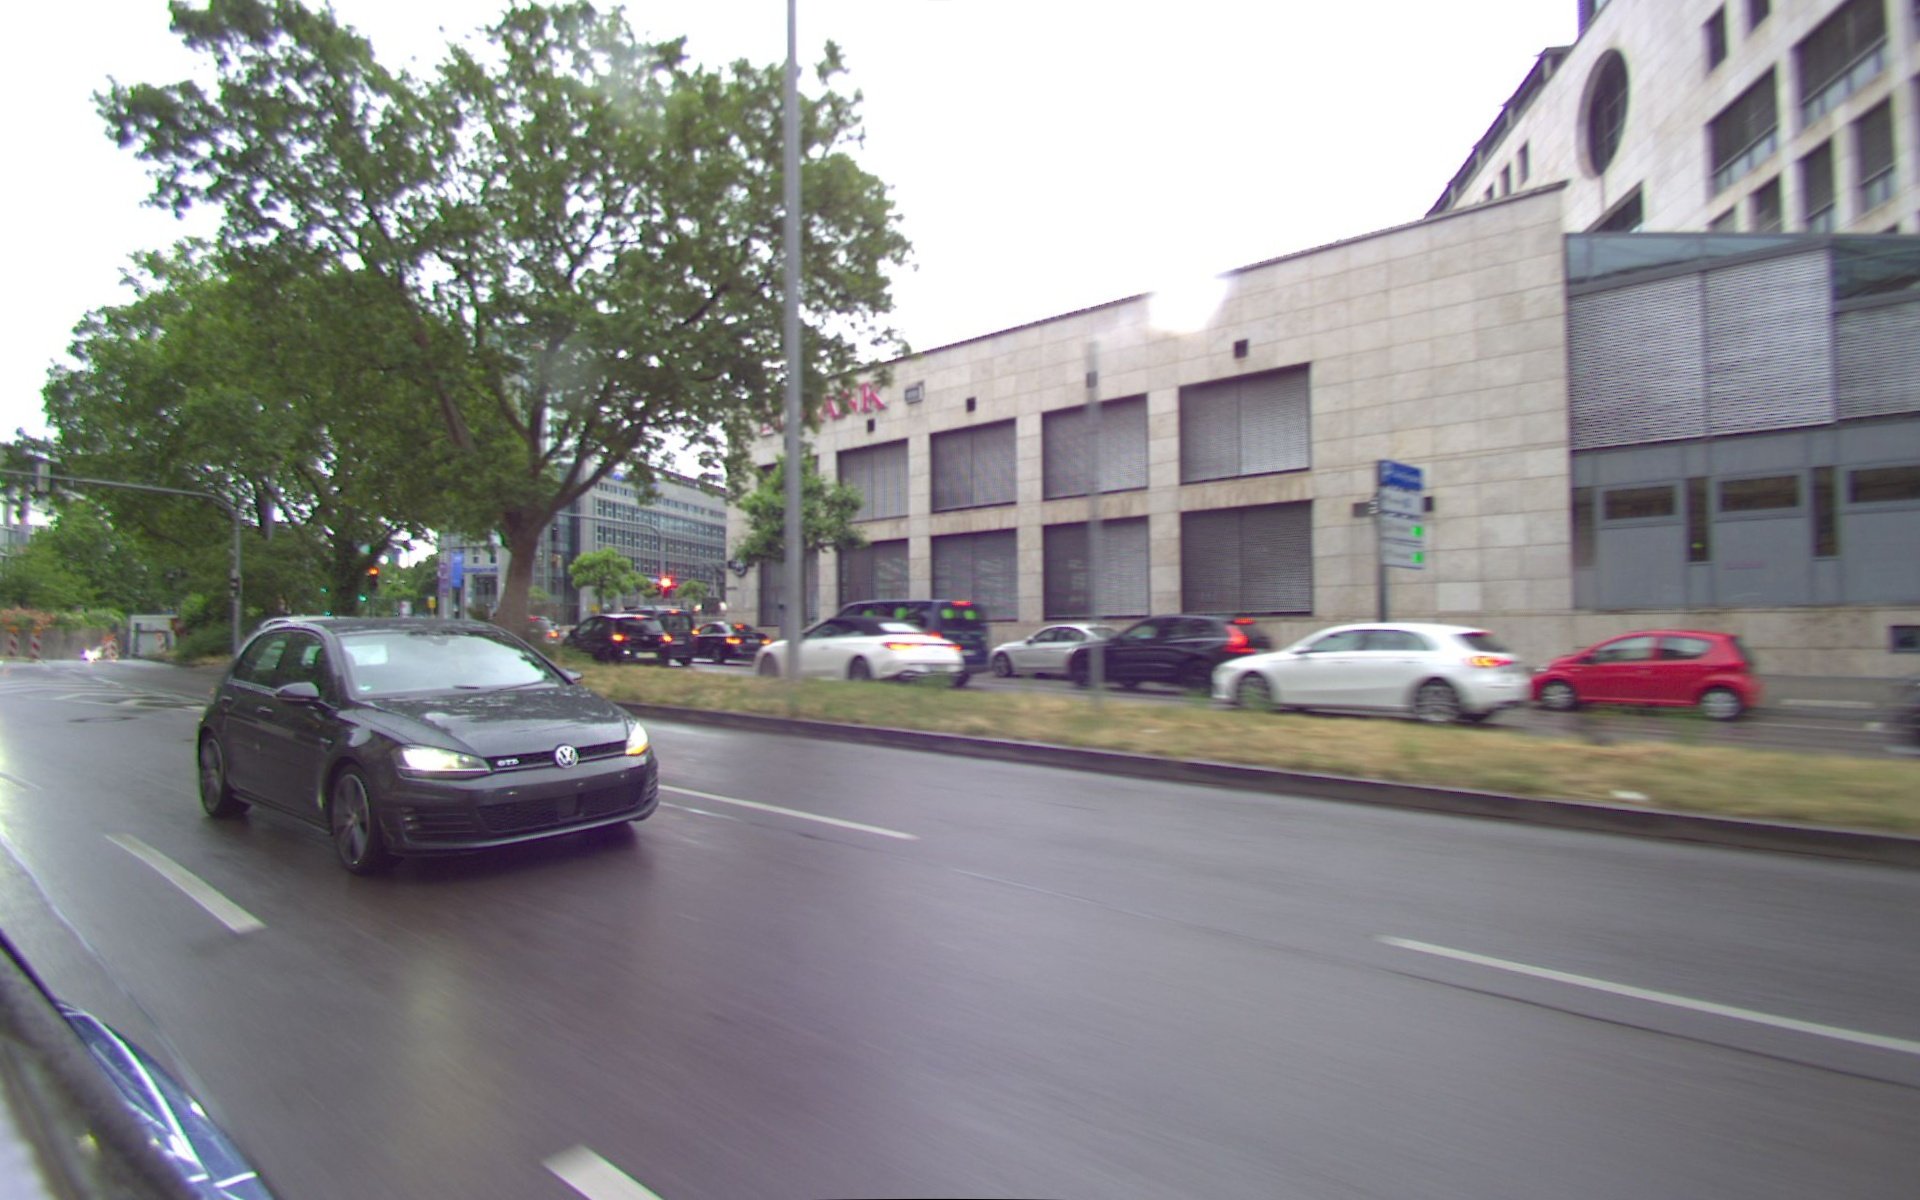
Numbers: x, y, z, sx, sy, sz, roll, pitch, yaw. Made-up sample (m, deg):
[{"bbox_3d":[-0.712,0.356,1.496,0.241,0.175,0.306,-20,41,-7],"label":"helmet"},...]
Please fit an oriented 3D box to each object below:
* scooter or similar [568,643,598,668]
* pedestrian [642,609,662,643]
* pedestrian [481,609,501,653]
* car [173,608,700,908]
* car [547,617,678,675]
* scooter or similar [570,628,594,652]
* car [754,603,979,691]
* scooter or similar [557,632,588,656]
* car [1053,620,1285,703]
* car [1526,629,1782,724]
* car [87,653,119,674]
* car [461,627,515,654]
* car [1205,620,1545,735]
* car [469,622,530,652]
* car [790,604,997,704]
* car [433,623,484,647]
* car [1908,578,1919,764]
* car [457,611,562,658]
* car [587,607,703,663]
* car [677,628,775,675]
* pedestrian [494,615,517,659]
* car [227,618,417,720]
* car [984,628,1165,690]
[{"bbox_3d":[-19.945,2.929,53.540,1.405,1.195,0.583,-1,0,-26],"label":"scooter or similar"},{"bbox_3d":[-17.891,1.490,58.795,1.125,1.939,0.582,-2,-1,42],"label":"pedestrian"},{"bbox_3d":[-17.616,1.149,37.982,0.551,1.626,0.422,-2,-2,23],"label":"pedestrian"},{"bbox_3d":[-3.768,0.821,6.968,4.119,1.463,1.766,-2,-2,40],"label":"car"},{"bbox_3d":[-8.990,1.129,26.017,1.726,1.375,3.947,2,-2,-43],"label":"car"},{"bbox_3d":[-19.265,2.044,51.645,0.437,1.134,1.609,-2,0,7],"label":"scooter or similar"},{"bbox_3d":[-1.837,0.807,18.866,4.315,1.453,1.839,-1,-2,45],"label":"car"},{"bbox_3d":[-20.067,2.266,52.394,1.407,1.195,0.582,-1,0,-37],"label":"scooter or similar"},{"bbox_3d":[4.296,1.204,21.376,1.707,1.544,4.642,2,-2,-45],"label":"car"},{"bbox_3d":[11.907,1.236,17.494,1.573,1.426,3.404,2,-2,-44],"label":"car"},{"bbox_3d":[-64.999,4.791,76.771,1.690,1.452,3.501,0,-2,-38],"label":"car"},{"bbox_3d":[-29.949,2.538,64.128,1.982,1.545,4.443,1,-2,-41],"label":"car"},{"bbox_3d":[6.025,1.036,15.088,1.707,1.443,4.398,2,-2,-45],"label":"car"},{"bbox_3d":[-27.250,2.130,59.759,1.969,1.664,4.733,1,-2,-41],"label":"car"},{"bbox_3d":[-1.631,1.140,23.026,1.809,2.017,5.108,2,-2,-44],"label":"car"},{"bbox_3d":[-34.330,2.395,69.214,1.982,1.545,4.718,1,-2,-41],"label":"car"},{"bbox_3d":[9.671,0.552,6.950,4.583,1.448,1.681,-1,-2,43],"label":"car"},{"bbox_3d":[-14.104,1.047,31.583,1.726,1.375,4.135,2,-2,-43],"label":"car"},{"bbox_3d":[-10.083,1.084,32.270,4.093,1.652,1.810,-1,-2,44],"label":"car"},{"bbox_3d":[-7.970,1.708,34.329,1.730,1.475,3.487,1,-2,-42],"label":"car"},{"bbox_3d":[-16.847,1.380,37.544,0.635,1.626,0.446,-1,-2,11],"label":"pedestrian"},{"bbox_3d":[-11.515,1.146,18.187,3.997,1.608,1.759,-1,-1,40],"label":"car"},{"bbox_3d":[2.895,1.484,26.520,1.727,1.426,4.709,2,-2,-44],"label":"car"}]
